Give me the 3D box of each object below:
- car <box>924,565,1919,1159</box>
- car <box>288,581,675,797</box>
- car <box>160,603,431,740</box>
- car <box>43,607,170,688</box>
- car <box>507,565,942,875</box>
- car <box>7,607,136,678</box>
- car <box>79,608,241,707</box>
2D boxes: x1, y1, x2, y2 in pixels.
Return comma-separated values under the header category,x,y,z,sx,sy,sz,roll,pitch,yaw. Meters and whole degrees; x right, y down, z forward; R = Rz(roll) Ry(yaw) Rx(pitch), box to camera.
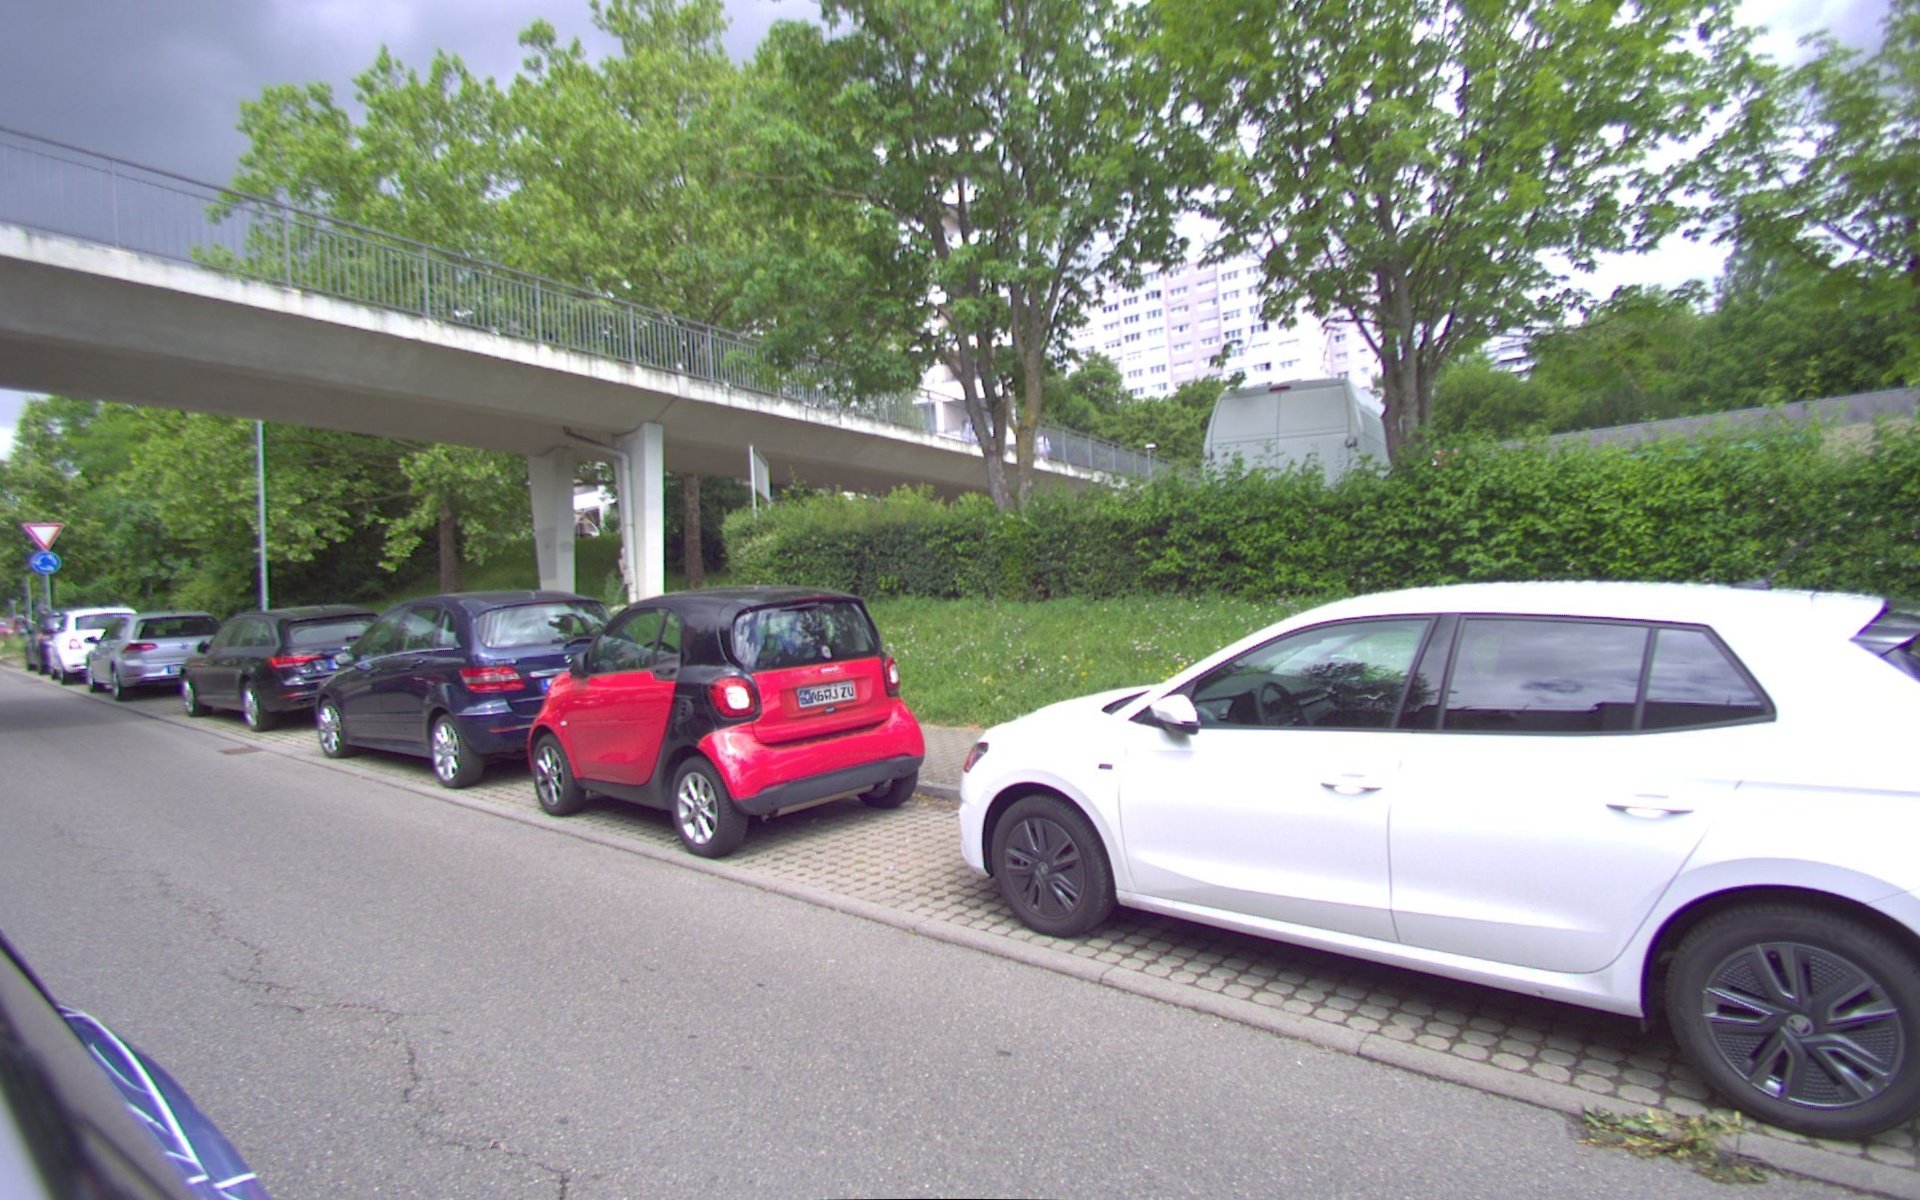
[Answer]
category,x,y,z,sx,sy,sz,roll,pitch,yaw
car,1.964,0.634,3.990,4.046,1.415,1.790,-1,3,41
car,-4.694,0.697,9.693,3.982,1.596,1.790,-1,2,40
car,-9.082,0.835,13.687,4.482,1.491,1.790,-1,2,40
car,-18.471,0.953,21.852,3.724,1.582,1.787,-1,0,45
car,-1.670,0.641,6.927,2.685,1.596,1.577,-1,4,42
car,-21.876,0.987,24.875,3.718,1.582,1.790,-1,0,39
car,-14.465,0.945,18.236,3.863,1.466,1.788,-1,3,45
